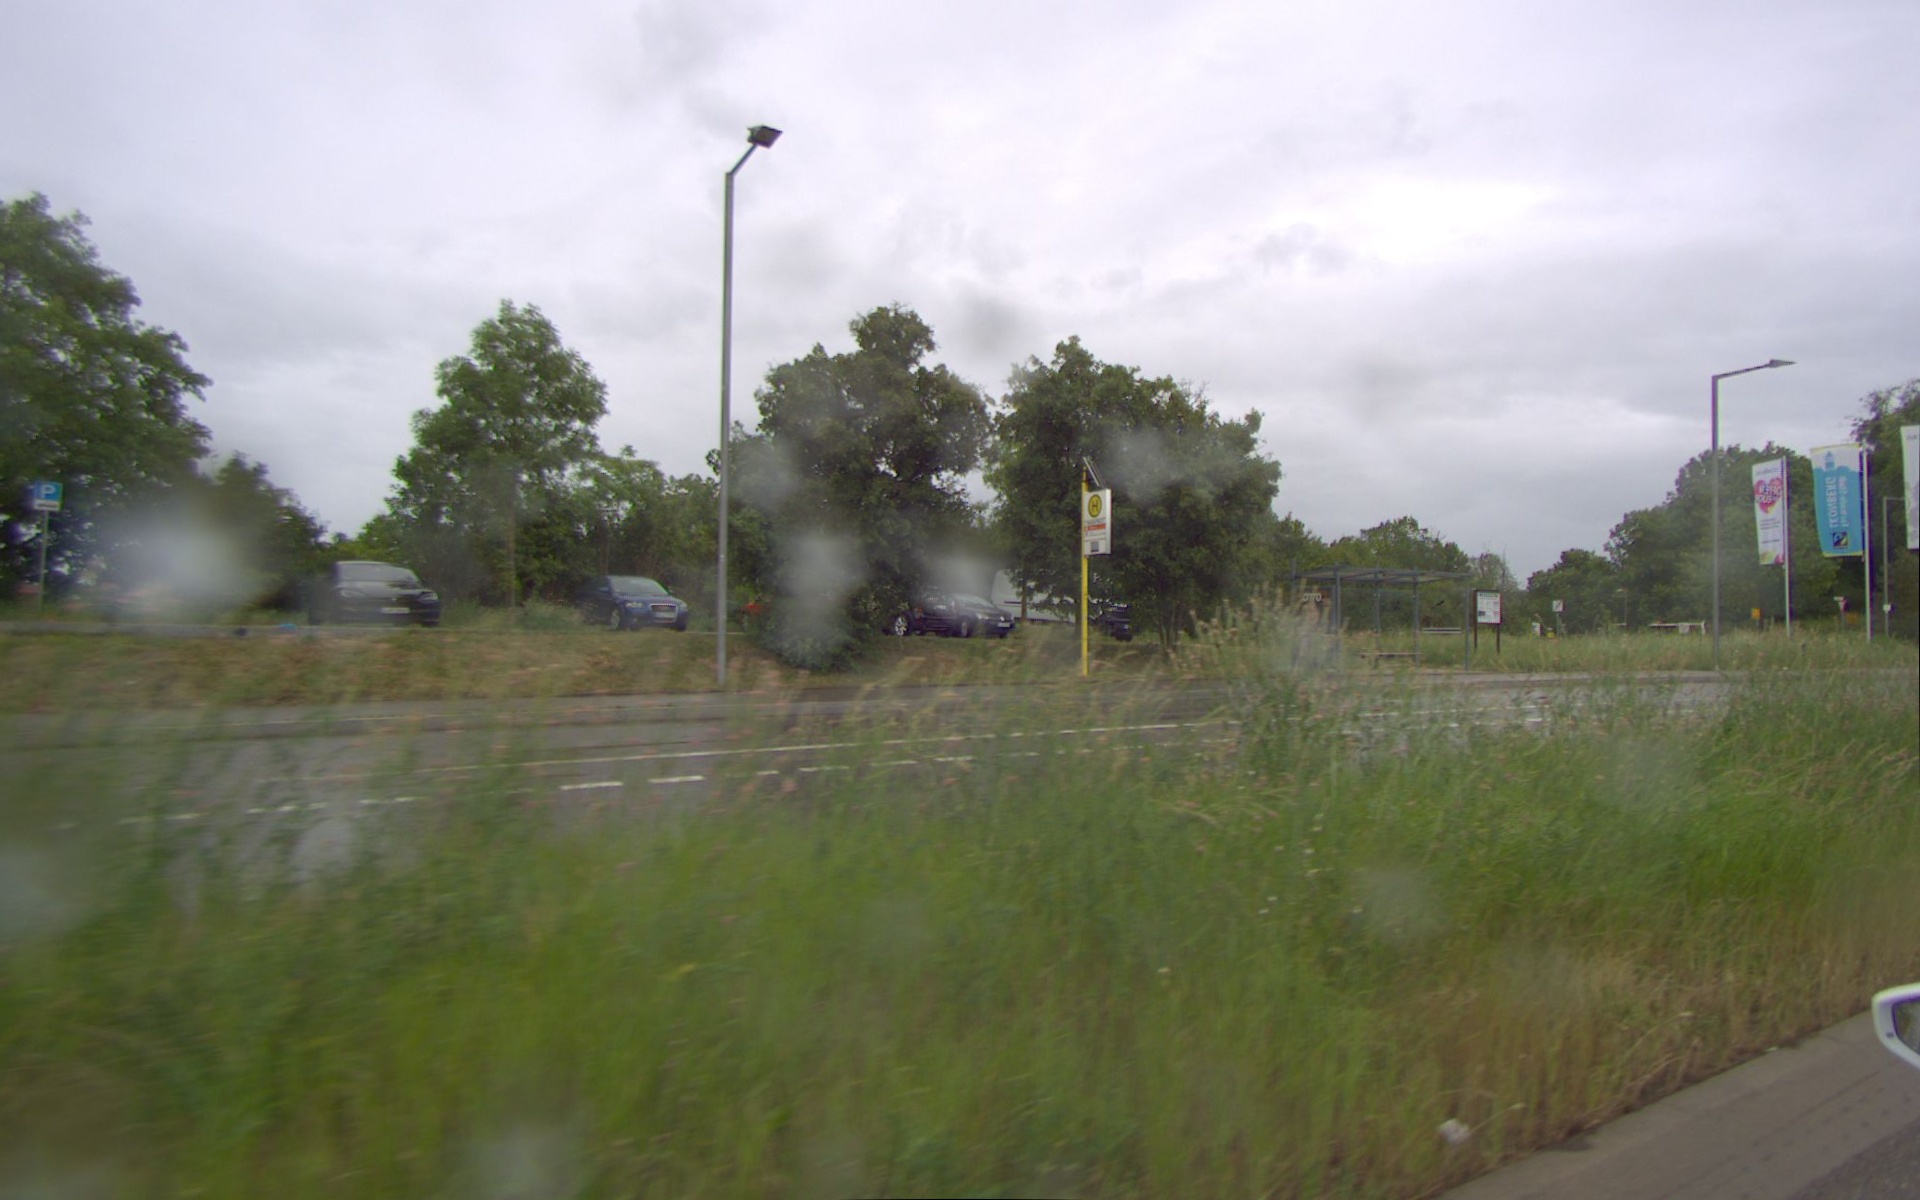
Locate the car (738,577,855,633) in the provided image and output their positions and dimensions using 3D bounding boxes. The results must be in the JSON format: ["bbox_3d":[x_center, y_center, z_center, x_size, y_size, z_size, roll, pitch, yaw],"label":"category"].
[{"bbox_3d":[-4.802,0.183,29.108,1.830,1.488,3.961,2,-2,-35],"label":"car"}]

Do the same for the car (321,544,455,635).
[{"bbox_3d":[-12.353,-0.143,21.538,1.985,1.715,4.674,2,-2,-36],"label":"car"}]

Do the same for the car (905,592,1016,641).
[{"bbox_3d":[-0.052,0.511,32.391,1.636,1.382,3.962,2,0,-33],"label":"car"}]

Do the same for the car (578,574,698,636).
[{"bbox_3d":[-8.172,0.095,25.271,1.880,1.382,3.962,2,1,-33],"label":"car"}]

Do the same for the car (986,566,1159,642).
[{"bbox_3d":[3.892,0.141,36.125,2.122,2.429,6.502,4,-2,-39],"label":"car"}]

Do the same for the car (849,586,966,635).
[{"bbox_3d":[-1.660,0.353,30.631,1.829,1.382,3.963,2,-2,-34],"label":"car"}]
